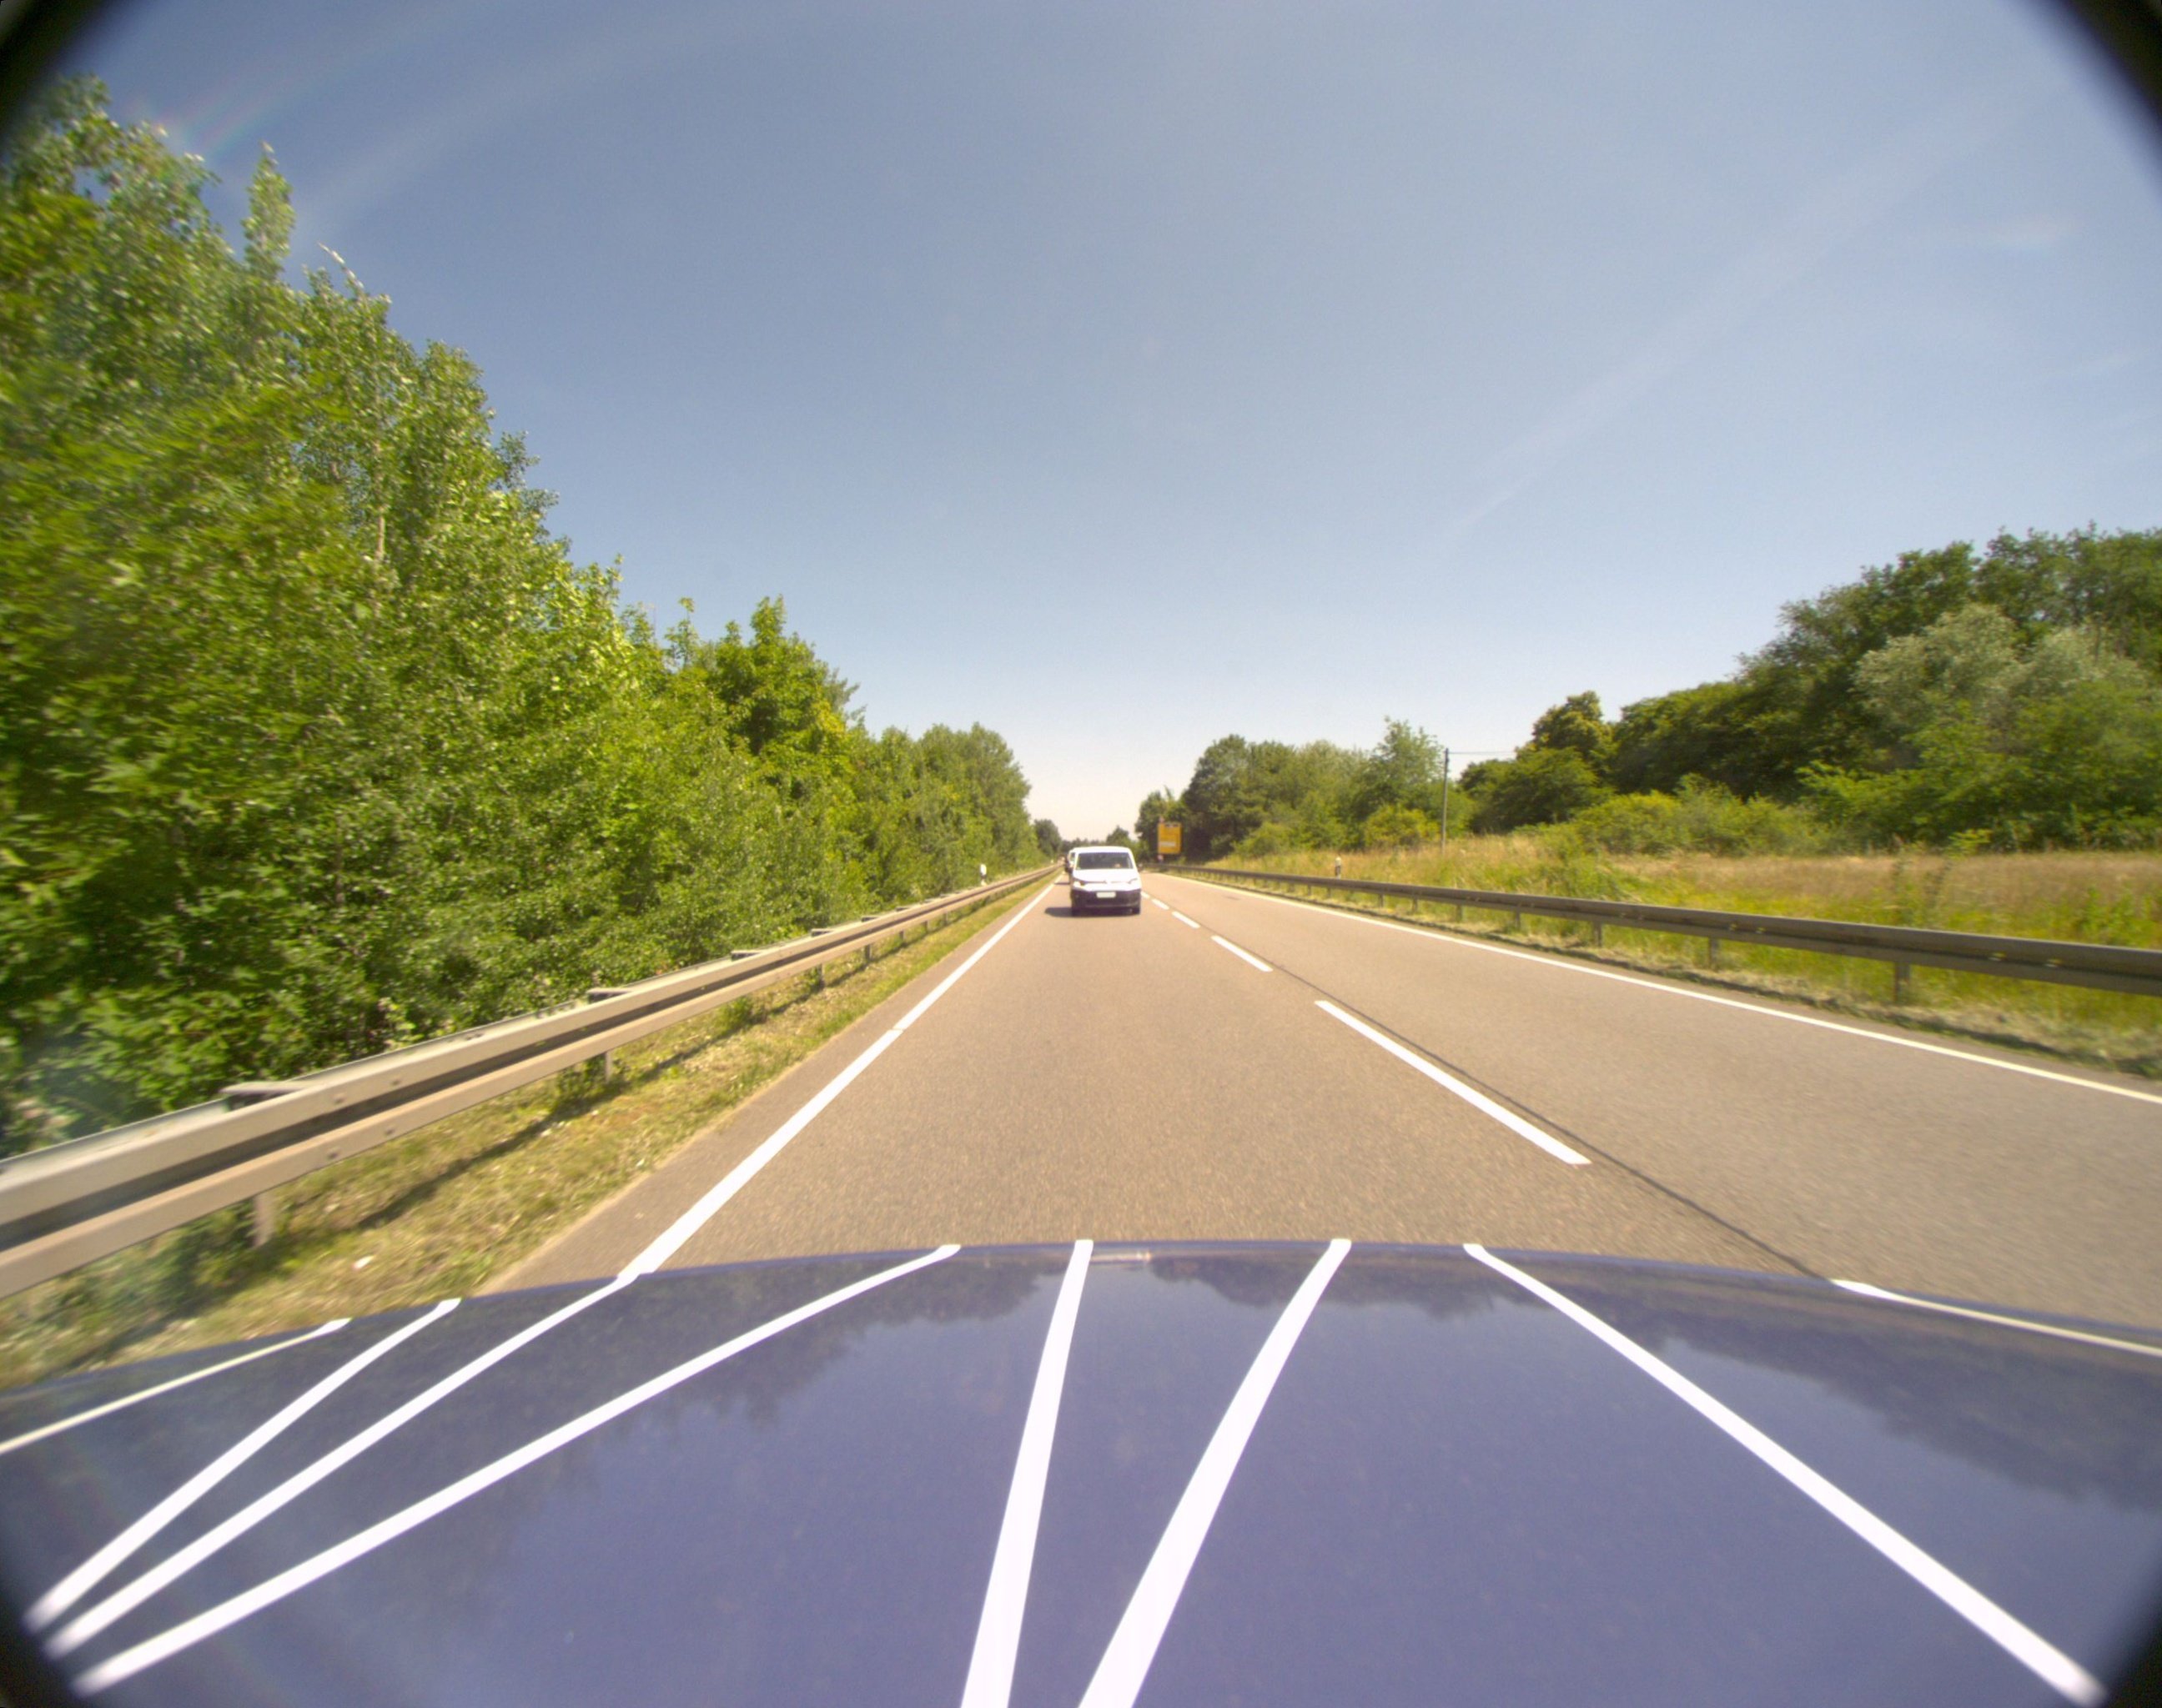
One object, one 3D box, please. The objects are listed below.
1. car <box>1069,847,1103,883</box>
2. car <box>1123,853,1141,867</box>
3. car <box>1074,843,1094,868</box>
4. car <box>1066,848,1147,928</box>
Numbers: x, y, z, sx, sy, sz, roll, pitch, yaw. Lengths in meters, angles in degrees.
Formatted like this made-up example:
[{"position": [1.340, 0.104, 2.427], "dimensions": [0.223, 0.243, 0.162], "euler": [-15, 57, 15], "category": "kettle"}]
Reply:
[{"position": [0.313, 0.587, 43.931], "dimensions": [1.782, 1.960, 4.105], "euler": [-2, 0, 1], "category": "car"}, {"position": [6.354, 0.692, 94.796], "dimensions": [1.998, 1.622, 3.999], "euler": [-2, 0, 0], "category": "car"}, {"position": [0.320, 0.112, 72.188], "dimensions": [1.782, 2.287, 4.105], "euler": [-2, 1, 1], "category": "car"}, {"position": [0.601, 0.755, 19.309], "dimensions": [1.782, 1.743, 4.512], "euler": [-2, 0, 1], "category": "car"}]
